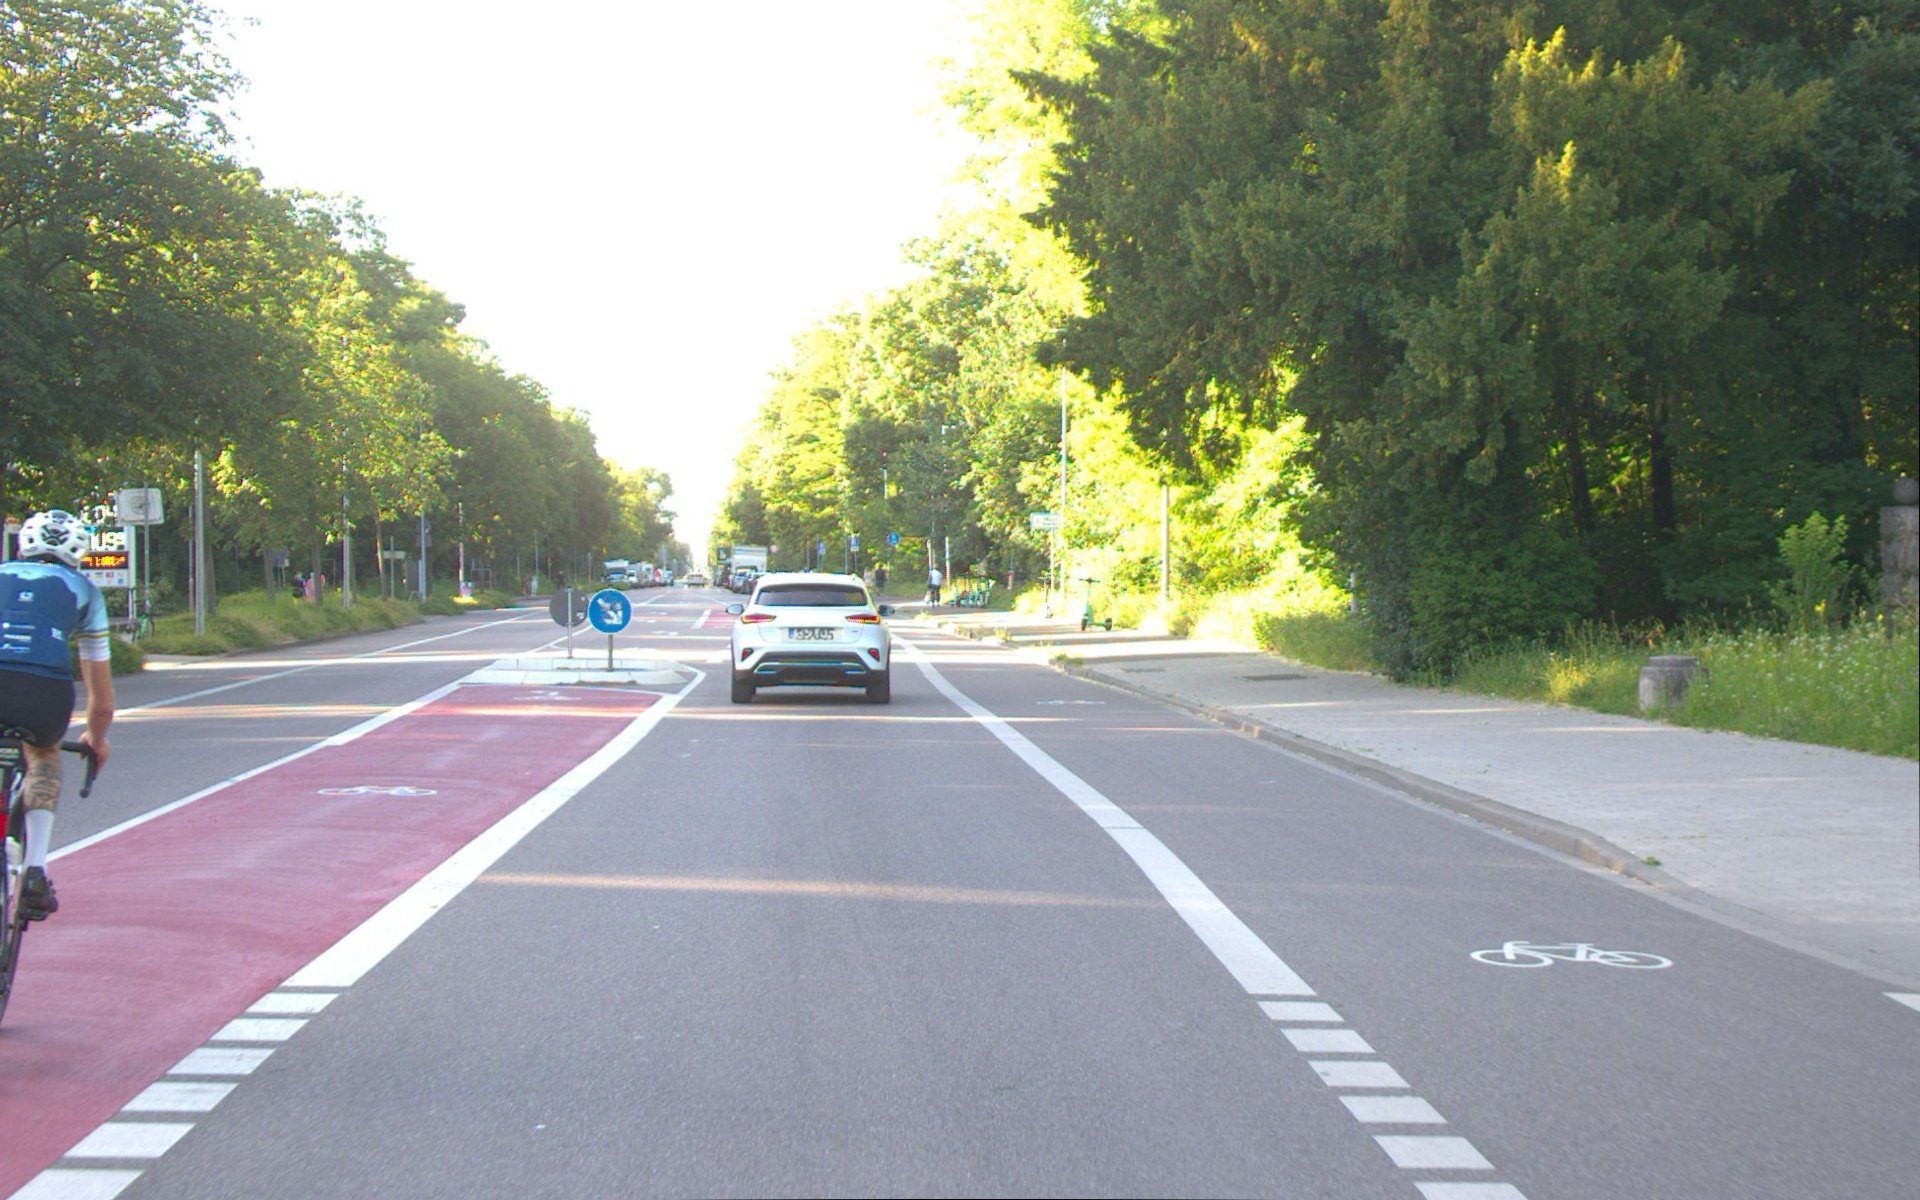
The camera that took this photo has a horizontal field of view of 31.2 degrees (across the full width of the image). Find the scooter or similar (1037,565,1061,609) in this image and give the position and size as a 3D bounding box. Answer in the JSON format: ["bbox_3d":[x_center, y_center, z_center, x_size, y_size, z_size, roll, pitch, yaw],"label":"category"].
[{"bbox_3d":[2.529,-0.372,97.643,0.533,1.245,1.541,-1,1,-4],"label":"scooter or similar"}]

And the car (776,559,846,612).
[{"bbox_3d":[-4.427,-0.445,101.411,1.993,1.514,4.001,-1,1,-3],"label":"car"}]

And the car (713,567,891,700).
[{"bbox_3d":[-1.900,0.355,40.361,1.761,1.454,3.819,1,0,-7],"label":"car"}]

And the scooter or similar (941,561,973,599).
[{"bbox_3d":[-0.114,-0.769,131.022,0.682,1.418,1.682,-1,1,-19],"label":"scooter or similar"}]

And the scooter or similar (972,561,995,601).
[{"bbox_3d":[0.839,-0.690,123.359,0.682,1.418,1.682,-1,1,-4],"label":"scooter or similar"}]

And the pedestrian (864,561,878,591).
[{"bbox_3d":[-4.873,-1.320,189.053,0.698,1.647,0.876,-1,1,-4],"label":"pedestrian"}]

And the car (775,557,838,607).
[{"bbox_3d":[-4.466,-0.545,100.648,1.676,1.413,3.574,-1,1,0],"label":"car"}]

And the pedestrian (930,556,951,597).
[{"bbox_3d":[-0.758,-0.904,132.525,0.755,1.558,0.802,-1,1,2],"label":"pedestrian"}]

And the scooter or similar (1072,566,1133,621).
[{"bbox_3d":[3.306,-0.154,79.804,0.534,1.245,1.537,0,1,43],"label":"scooter or similar"}]

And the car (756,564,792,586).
[{"bbox_3d":[-11.948,-1.614,220.938,1.993,1.322,4.001,-1,1,-7],"label":"car"}]

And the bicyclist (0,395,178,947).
[{"bbox_3d":[-2.869,0.191,10.203,0.860,1.562,0.881,1,1,2],"label":"bicyclist"}]

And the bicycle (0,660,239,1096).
[{"bbox_3d":[-2.865,0.762,10.291,0.891,1.092,2.136,1,1,2],"label":"bicycle"}]

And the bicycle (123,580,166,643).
[{"bbox_3d":[-16.795,0.223,70.848,0.654,1.246,2.160,-1,1,-9],"label":"bicycle"}]

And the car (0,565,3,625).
[{"bbox_3d":[-27.563,-0.113,94.661,1.710,1.685,4.455,-1,1,-8],"label":"car"}]

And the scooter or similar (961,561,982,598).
[{"bbox_3d":[0.446,-0.798,132.366,0.682,1.418,1.682,-1,1,-4],"label":"scooter or similar"}]

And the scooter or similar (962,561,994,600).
[{"bbox_3d":[0.651,-0.738,127.306,0.682,1.418,1.682,-1,1,-17],"label":"scooter or similar"}]
